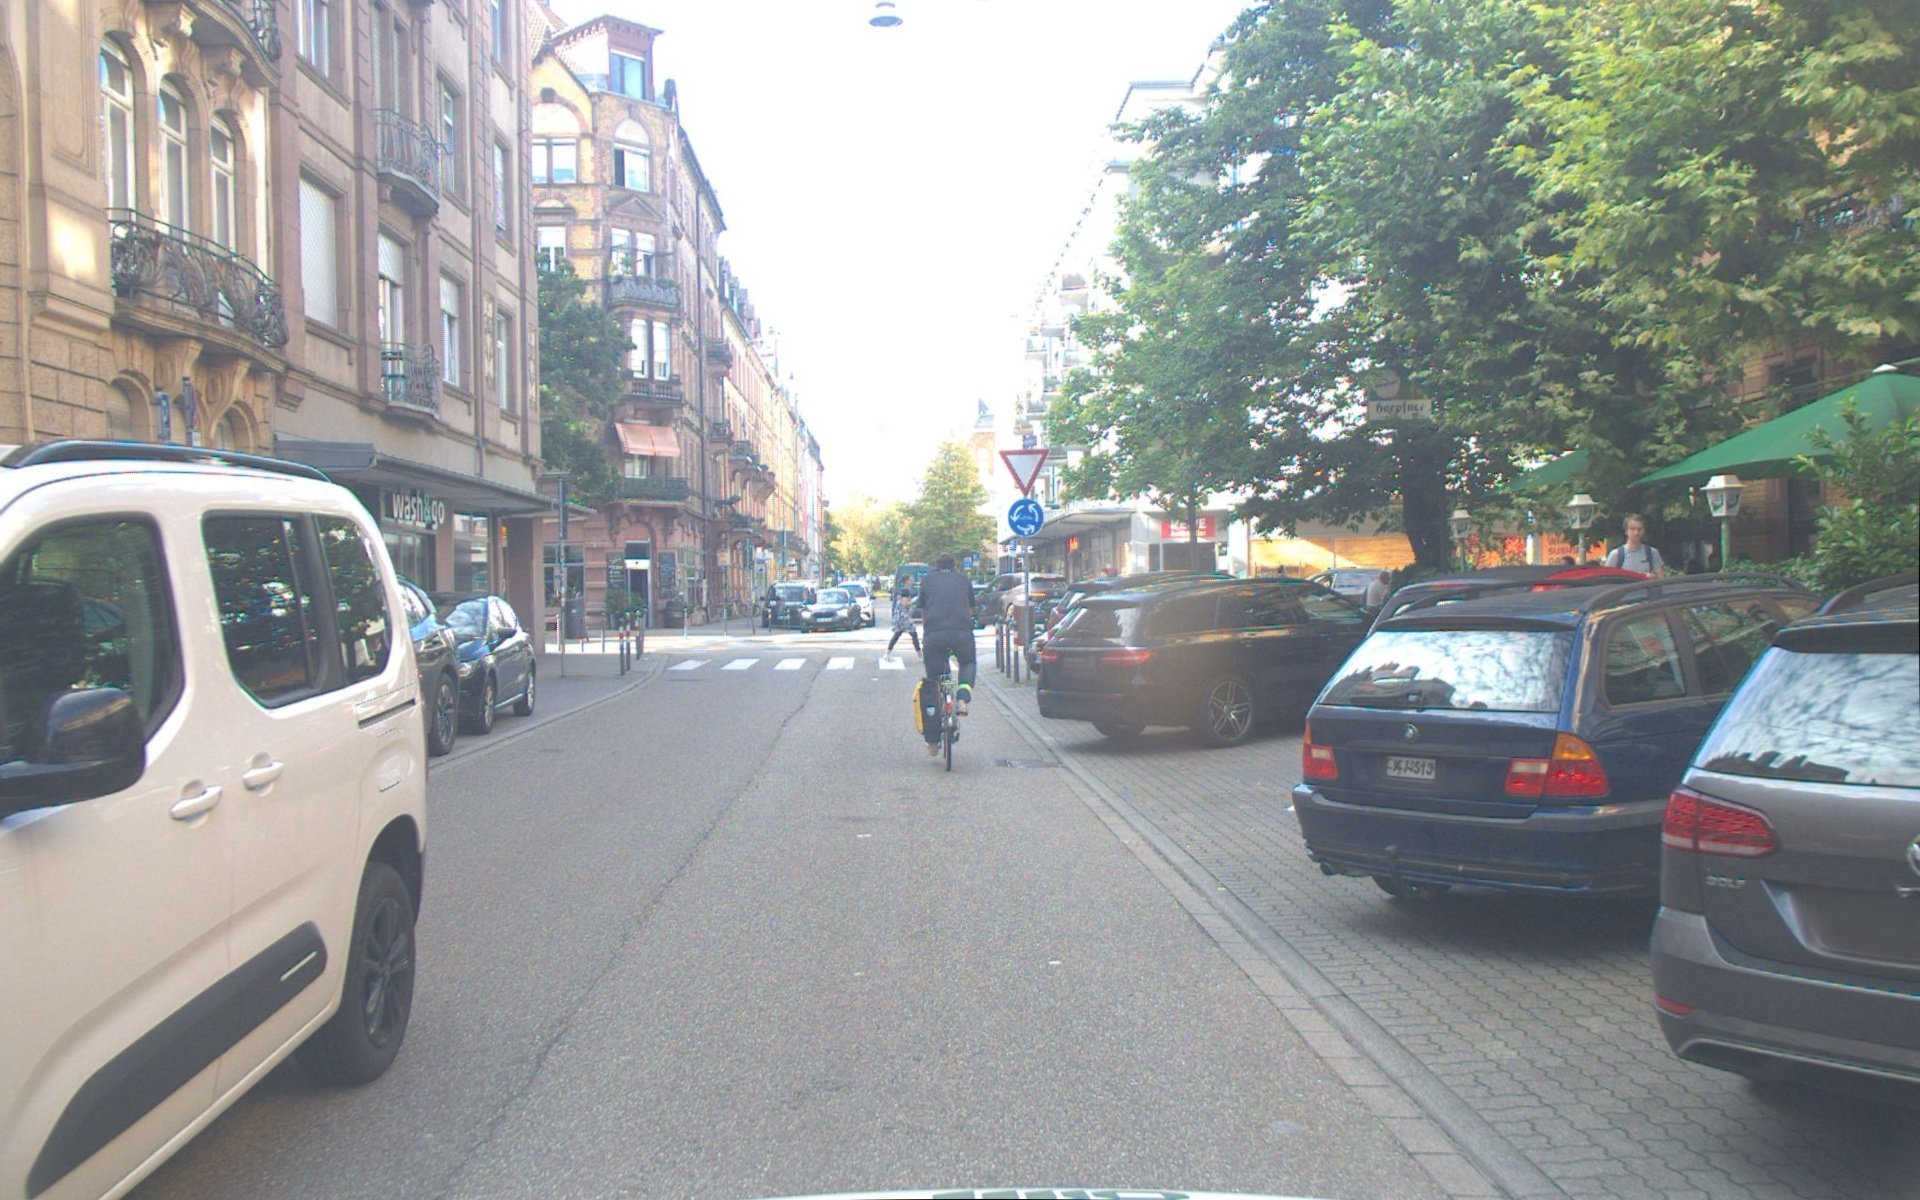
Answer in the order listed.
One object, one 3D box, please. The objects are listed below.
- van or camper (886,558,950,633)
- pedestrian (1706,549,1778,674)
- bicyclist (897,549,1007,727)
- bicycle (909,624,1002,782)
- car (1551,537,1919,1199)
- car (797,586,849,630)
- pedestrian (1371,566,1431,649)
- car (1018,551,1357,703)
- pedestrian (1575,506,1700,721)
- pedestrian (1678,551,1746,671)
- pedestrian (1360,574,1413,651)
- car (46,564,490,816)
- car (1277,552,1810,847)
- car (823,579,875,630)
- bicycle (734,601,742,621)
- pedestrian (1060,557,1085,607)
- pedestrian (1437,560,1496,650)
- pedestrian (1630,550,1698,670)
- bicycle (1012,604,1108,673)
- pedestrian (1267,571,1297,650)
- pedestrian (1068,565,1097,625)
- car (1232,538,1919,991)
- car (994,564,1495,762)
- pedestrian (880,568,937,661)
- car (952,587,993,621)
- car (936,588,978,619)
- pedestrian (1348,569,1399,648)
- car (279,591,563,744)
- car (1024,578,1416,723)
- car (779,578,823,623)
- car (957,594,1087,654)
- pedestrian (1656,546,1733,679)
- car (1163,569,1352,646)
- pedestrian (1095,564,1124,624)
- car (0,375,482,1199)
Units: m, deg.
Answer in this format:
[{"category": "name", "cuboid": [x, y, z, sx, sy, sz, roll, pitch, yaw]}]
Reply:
[{"category": "van or camper", "cuboid": [-1.876, -0.216, 72.346, 2.482, 3.090, 4.454, -1, 0, -5]}, {"category": "pedestrian", "cuboid": [10.215, 0.141, 21.615, 0.616, 1.597, 0.569, -2, 0, -7]}, {"category": "bicyclist", "cuboid": [-0.084, 0.317, 14.446, 0.915, 1.510, 0.746, 0, 0, -4]}, {"category": "bicycle", "cuboid": [-0.074, 0.836, 14.393, 0.652, 1.198, 2.495, 0, 0, -4]}, {"category": "car", "cuboid": [3.784, 0.548, 5.051, 4.433, 1.502, 1.860, -5, 3, -43]}, {"category": "car", "cuboid": [-4.656, 0.271, 56.651, 1.715, 1.461, 4.208, 0, 0, -4]}, {"category": "pedestrian", "cuboid": [7.785, 0.128, 29.219, 0.782, 1.431, 0.702, -1, 0, -7]}, {"category": "car", "cuboid": [3.108, 0.314, 22.417, 4.294, 1.673, 1.804, -4, 2, -29]}, {"category": "pedestrian", "cuboid": [6.227, 0.119, 15.226, 0.822, 1.911, 0.723, -2, 0, 1]}, {"category": "pedestrian", "cuboid": [10.273, 0.142, 22.613, 0.616, 1.597, 0.569, -2, 0, -7]}, {"category": "pedestrian", "cuboid": [7.704, 0.226, 29.896, 0.742, 1.366, 0.596, -1, 0, -7]}, {"category": "car", "cuboid": [-5.358, 0.605, 13.592, 1.755, 1.657, 4.845, -1, 0, -2]}, {"category": "car", "cuboid": [3.948, 0.520, 10.931, 3.687, 1.511, 1.715, -4, 2, -41]}, {"category": "car", "cuboid": [-4.349, 0.154, 65.343, 1.904, 1.751, 4.847, -3, 2, -3]}, {"category": "bicycle", "cuboid": [-10.988, 0.530, 81.778, 0.353, 0.963, 1.713, 0, 0, -7]}, {"category": "pedestrian", "cuboid": [3.819, -0.598, 56.060, 0.729, 1.657, 0.813, -1, 0, 9]}, {"category": "pedestrian", "cuboid": [8.285, 0.081, 27.089, 0.659, 1.431, 0.757, -1, 0, -7]}, {"category": "pedestrian", "cuboid": [9.587, 0.130, 22.540, 0.616, 1.597, 0.569, -2, 0, -7]}, {"category": "bicycle", "cuboid": [1.619, 0.632, 26.983, 0.542, 1.058, 1.837, -5, 1, -31]}, {"category": "pedestrian", "cuboid": [7.281, 0.234, 37.404, 0.615, 1.769, 0.776, -1, 0, 10]}, {"category": "pedestrian", "cuboid": [3.905, -0.156, 52.751, 0.851, 1.883, 0.613, -1, 0, 2]}, {"category": "car", "cuboid": [3.545, 0.532, 8.028, 4.423, 1.489, 1.854, -4, 2, -38]}, {"category": "car", "cuboid": [2.878, 0.515, 16.424, 4.706, 1.482, 2.035, -4, 2, -31]}, {"category": "pedestrian", "cuboid": [-1.024, 0.285, 32.841, 0.768, 1.811, 0.790, -1, 0, 36]}, {"category": "car", "cuboid": [0.509, 0.171, 72.184, 1.612, 1.347, 3.576, -4, 1, -1]}, {"category": "car", "cuboid": [-0.181, 0.156, 84.021, 1.953, 1.512, 3.999, -2, 0, -2]}, {"category": "pedestrian", "cuboid": [7.616, 0.148, 30.477, 0.742, 1.417, 0.548, -1, 0, -7]}, {"category": "car", "cuboid": [-5.826, 0.652, 18.447, 1.954, 1.445, 4.242, -1, 0, -3]}, {"category": "car", "cuboid": [3.125, 0.537, 19.750, 4.350, 1.482, 1.925, -2, 1, -28]}, {"category": "car", "cuboid": [-7.563, 0.009, 79.024, 1.954, 2.049, 3.996, -2, 0, -5]}, {"category": "car", "cuboid": [1.798, 0.680, 49.082, 1.974, 1.646, 3.956, -2, 0, -32]}, {"category": "pedestrian", "cuboid": [9.572, 0.153, 21.559, 0.634, 1.670, 0.563, -4, 0, -7]}, {"category": "car", "cuboid": [7.804, 0.189, 43.507, 4.726, 1.754, 2.045, -2, 2, 11]}, {"category": "pedestrian", "cuboid": [4.769, -0.181, 52.676, 0.851, 1.883, 0.613, -1, 0, 2]}, {"category": "car", "cuboid": [-2.520, 0.562, 3.493, 1.879, 1.860, 4.436, 0, 0, -2]}]
